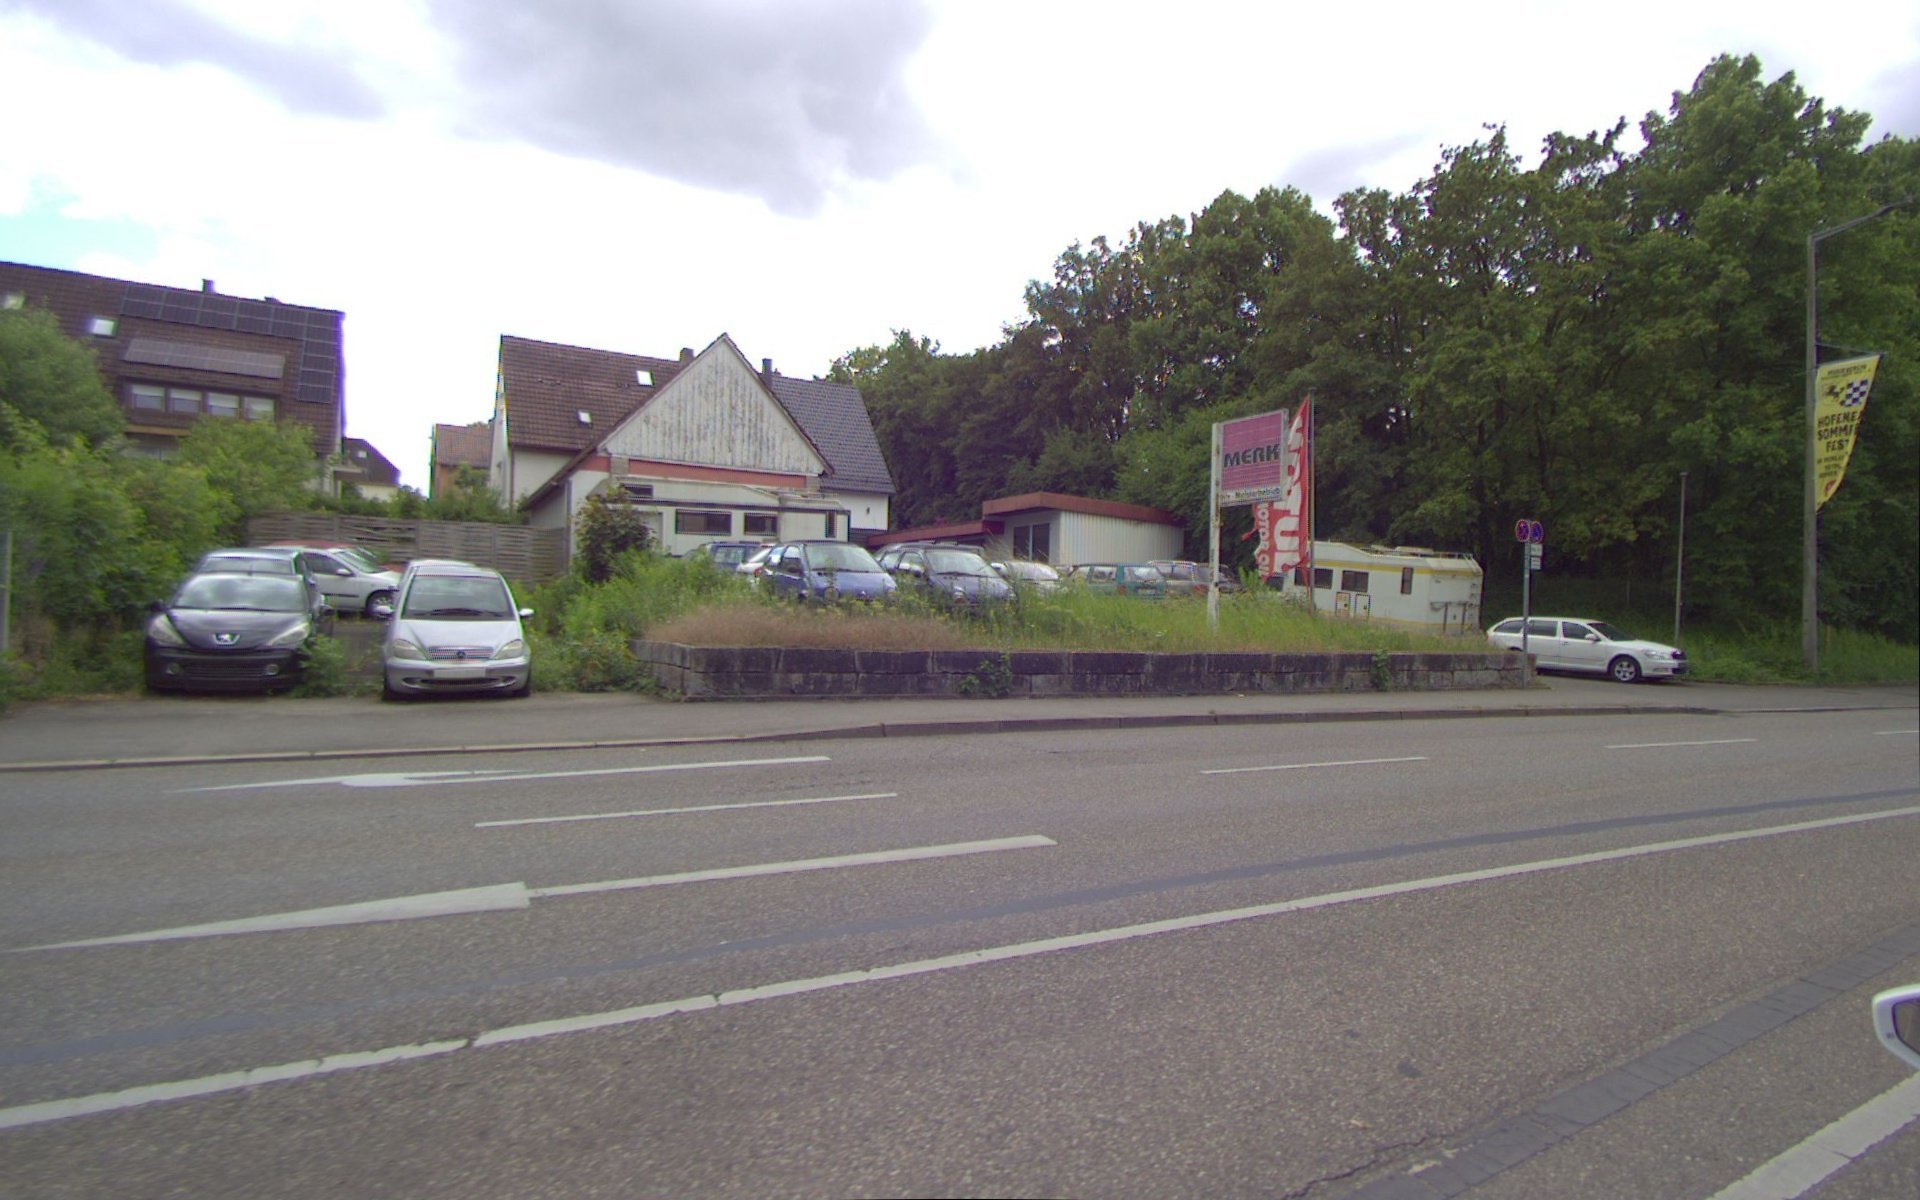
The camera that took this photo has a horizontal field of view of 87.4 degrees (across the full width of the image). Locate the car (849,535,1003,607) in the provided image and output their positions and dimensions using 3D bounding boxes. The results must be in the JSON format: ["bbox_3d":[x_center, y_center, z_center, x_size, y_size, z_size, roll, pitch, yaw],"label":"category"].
[{"bbox_3d":[-1.095,-0.921,33.052,4.694,2.090,1.871,2,1,-30],"label":"car"}]

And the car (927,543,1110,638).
[{"bbox_3d":[0.943,-0.194,18.436,1.625,1.512,3.974,2,1,-25],"label":"car"}]

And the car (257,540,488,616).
[{"bbox_3d":[-13.834,-0.508,23.958,4.329,1.531,1.993,3,1,-16],"label":"car"}]

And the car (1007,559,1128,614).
[{"bbox_3d":[3.053,-0.411,29.344,1.822,1.419,3.733,2,1,-25],"label":"car"}]

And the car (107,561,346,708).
[{"bbox_3d":[-9.460,0.361,13.313,1.976,1.625,3.970,2,1,-28],"label":"car"}]

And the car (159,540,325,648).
[{"bbox_3d":[-12.107,-0.121,17.184,1.753,1.590,3.970,2,1,-28],"label":"car"}]

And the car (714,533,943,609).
[{"bbox_3d":[-2.687,-0.543,20.879,4.353,1.360,1.837,2,0,-33],"label":"car"}]

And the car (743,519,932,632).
[{"bbox_3d":[-2.104,-0.380,16.140,1.834,1.517,3.974,2,1,-25],"label":"car"}]

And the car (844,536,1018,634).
[{"bbox_3d":[-0.626,-0.269,17.280,1.513,1.430,3.975,2,1,-25],"label":"car"}]

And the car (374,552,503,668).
[{"bbox_3d":[-9.593,0.132,18.487,1.858,1.874,3.970,2,1,-28],"label":"car"}]

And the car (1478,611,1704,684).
[{"bbox_3d":[15.654,1.121,25.151,1.940,1.460,4.350,1,1,-32],"label":"car"}]

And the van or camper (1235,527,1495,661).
[{"bbox_3d":[12.195,-0.341,31.053,2.763,3.417,7.107,1,5,-29],"label":"van or camper"}]

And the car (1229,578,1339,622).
[{"bbox_3d":[11.859,0.005,36.736,3.827,1.364,1.508,2,2,-28],"label":"car"}]

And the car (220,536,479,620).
[{"bbox_3d":[-12.895,-0.442,21.546,4.330,1.517,1.925,3,1,-17],"label":"car"}]

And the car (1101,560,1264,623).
[{"bbox_3d":[5.469,-0.236,25.225,1.973,1.388,3.974,2,1,-25],"label":"car"}]

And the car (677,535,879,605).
[{"bbox_3d":[-4.157,-0.649,23.122,4.238,1.336,1.660,2,1,-31],"label":"car"}]

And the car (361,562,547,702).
[{"bbox_3d":[-7.058,0.350,13.997,1.976,1.639,3.970,2,1,-28],"label":"car"}]

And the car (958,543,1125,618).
[{"bbox_3d":[1.642,-0.418,21.577,1.892,1.397,3.827,2,1,-25],"label":"car"}]

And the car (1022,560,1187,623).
[{"bbox_3d":[3.297,-0.234,23.626,1.863,1.285,3.914,2,1,-28],"label":"car"}]
